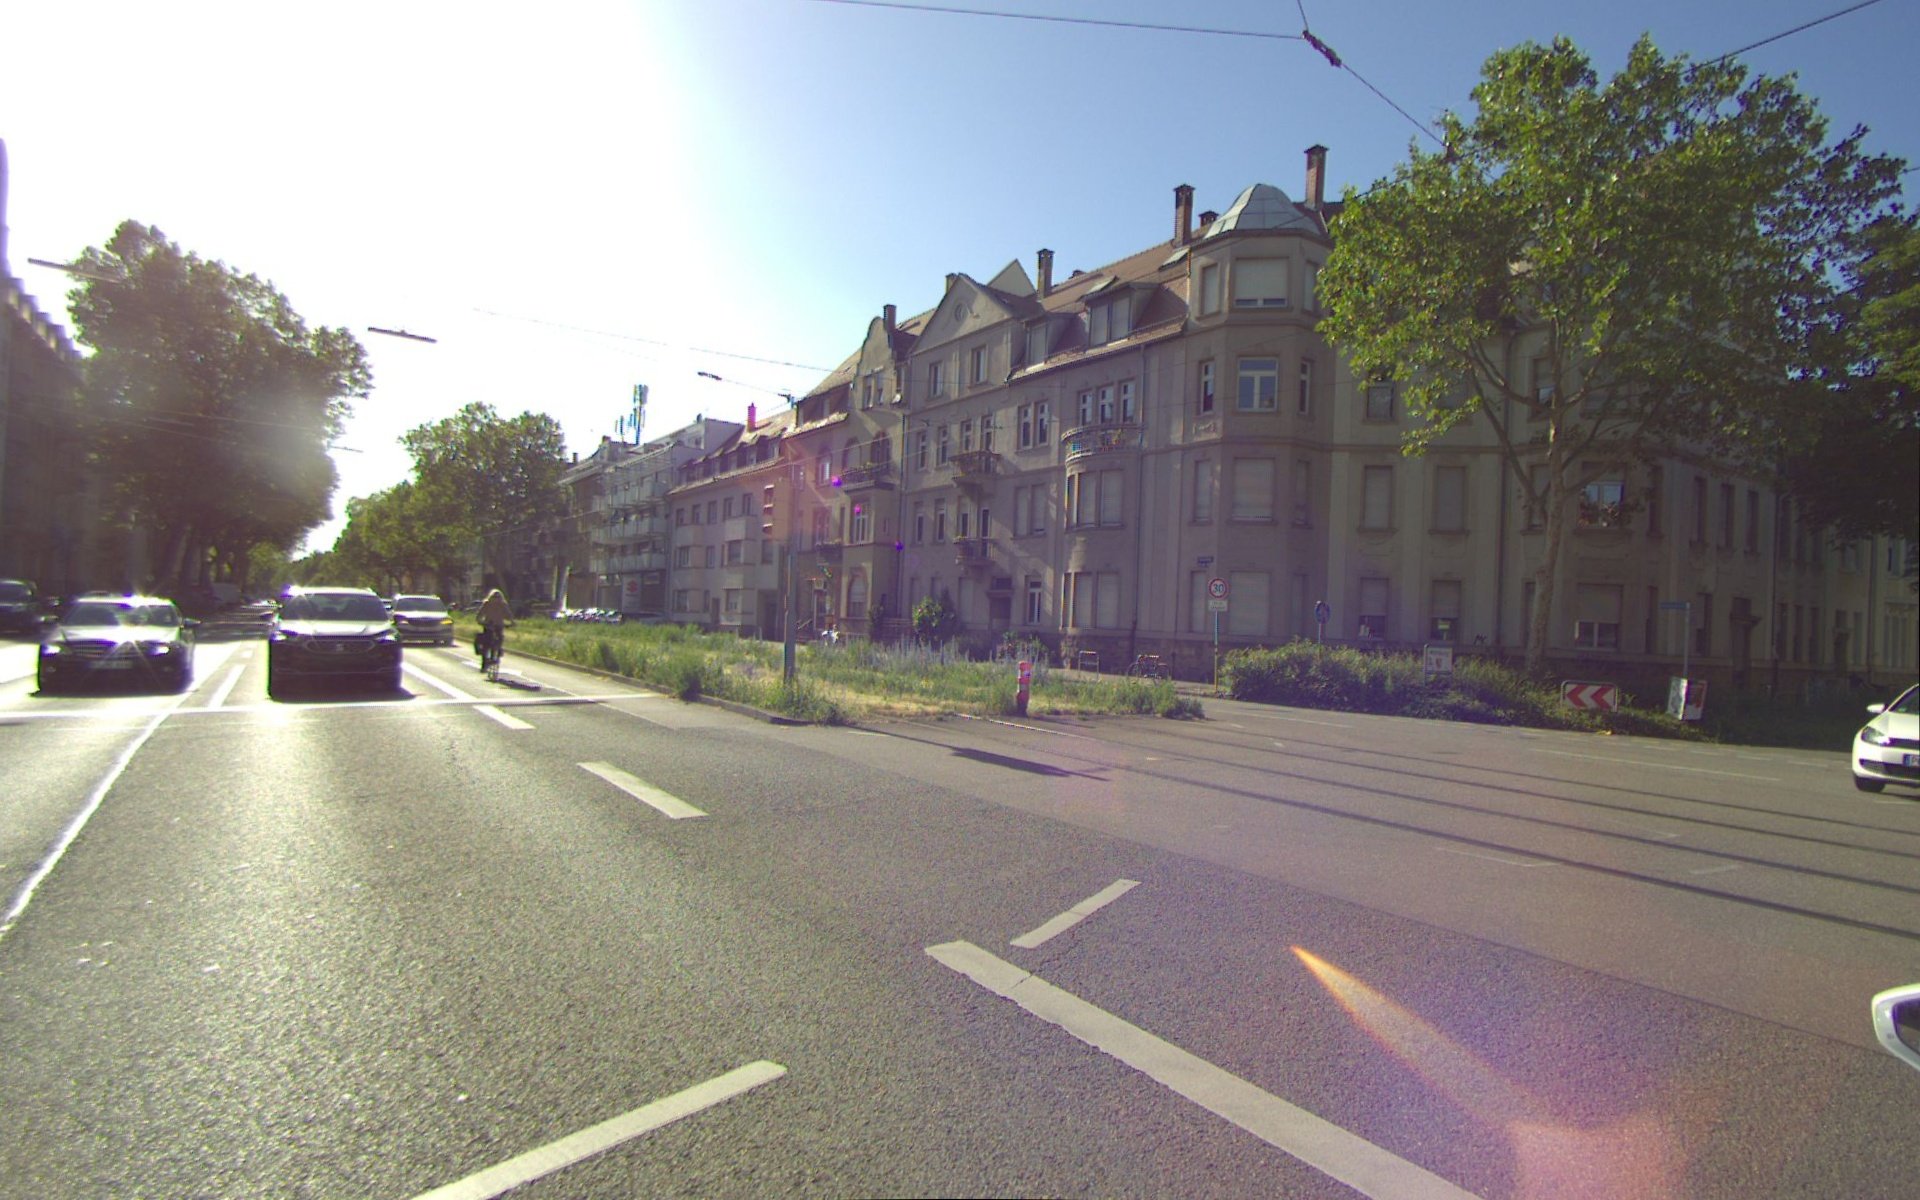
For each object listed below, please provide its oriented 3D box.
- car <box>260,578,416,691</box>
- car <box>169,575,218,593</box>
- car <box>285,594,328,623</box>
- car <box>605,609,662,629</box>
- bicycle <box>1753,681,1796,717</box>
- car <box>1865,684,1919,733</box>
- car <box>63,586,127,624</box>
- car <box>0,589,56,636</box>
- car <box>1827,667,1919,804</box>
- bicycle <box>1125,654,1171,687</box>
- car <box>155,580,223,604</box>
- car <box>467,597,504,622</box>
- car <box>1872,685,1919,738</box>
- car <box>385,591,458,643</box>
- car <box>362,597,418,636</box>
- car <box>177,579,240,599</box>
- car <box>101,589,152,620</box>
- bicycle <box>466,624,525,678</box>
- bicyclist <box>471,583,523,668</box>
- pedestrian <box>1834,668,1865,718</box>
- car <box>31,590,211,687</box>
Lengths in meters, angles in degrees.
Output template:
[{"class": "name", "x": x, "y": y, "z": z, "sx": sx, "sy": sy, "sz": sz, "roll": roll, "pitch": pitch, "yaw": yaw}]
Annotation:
[{"class": "car", "x": -10.547, "y": 0.530, "z": 17.061, "sx": 1.979, "sy": 1.666, "sz": 4.203, "roll": 2, "pitch": -1, "yaw": -33}, {"class": "car", "x": -81.074, "y": -1.678, "z": 106.258, "sx": 1.819, "sy": 1.728, "sz": 3.790, "roll": 4, "pitch": 1, "yaw": 41}, {"class": "car", "x": -39.099, "y": 0.517, "z": 60.191, "sx": 1.702, "sy": 1.572, "sz": 3.972, "roll": 3, "pitch": -2, "yaw": -27}, {"class": "car", "x": -25.574, "y": 1.474, "z": 78.808, "sx": 3.961, "sy": 1.325, "sz": 1.528, "roll": 4, "pitch": -2, "yaw": -35}, {"class": "bicycle", "x": 28.017, "y": 3.401, "z": 34.549, "sx": 1.961, "sy": 1.169, "sz": 0.511, "roll": 3, "pitch": 1, "yaw": -33}, {"class": "car", "x": 31.048, "y": 3.487, "z": 31.411, "sx": 1.601, "sy": 1.433, "sz": 3.852, "roll": 4, "pitch": -2, "yaw": -38}, {"class": "car", "x": -39.060, "y": 0.219, "z": 45.433, "sx": 1.624, "sy": 1.609, "sz": 3.373, "roll": 2, "pitch": -1, "yaw": -32}, {"class": "car", "x": -30.599, "y": 0.356, "z": 32.185, "sx": 1.747, "sy": 1.407, "sz": 3.862, "roll": 3, "pitch": -2, "yaw": -32}, {"class": "car", "x": 12.423, "y": 1.688, "z": 12.240, "sx": 3.959, "sy": 1.477, "sz": 1.795, "roll": 5, "pitch": -3, "yaw": -33}, {"class": "bicycle", "x": 5.750, "y": 2.152, "z": 30.745, "sx": 0.492, "sy": 0.916, "sz": 1.424, "roll": 4, "pitch": -2, "yaw": -36}, {"class": "car", "x": -59.736, "y": -0.587, "z": 77.857, "sx": 1.809, "sy": 1.728, "sz": 3.810, "roll": 4, "pitch": 1, "yaw": 16}, {"class": "car", "x": -38.119, "y": 0.780, "z": 80.611, "sx": 1.966, "sy": 1.860, "sz": 4.075, "roll": 4, "pitch": -2, "yaw": -34}, {"class": "car", "x": 29.602, "y": 3.387, "z": 29.526, "sx": 1.598, "sy": 1.495, "sz": 3.861, "roll": 4, "pitch": -3, "yaw": -32}, {"class": "car", "x": -17.820, "y": 0.546, "z": 33.157, "sx": 1.747, "sy": 1.550, "sz": 3.984, "roll": 3, "pitch": -2, "yaw": -32}, {"class": "car", "x": -24.147, "y": 0.665, "z": 42.517, "sx": 1.748, "sy": 1.550, "sz": 3.859, "roll": 1, "pitch": 0, "yaw": -34}, {"class": "car", "x": -71.765, "y": -1.026, "z": 96.001, "sx": 1.809, "sy": 1.728, "sz": 4.593, "roll": 4, "pitch": 1, "yaw": 18}, {"class": "car", "x": -45.413, "y": 0.248, "z": 54.799, "sx": 1.624, "sy": 1.609, "sz": 3.373, "roll": 2, "pitch": -1, "yaw": -32}, {"class": "bicycle", "x": -8.946, "y": 0.970, "z": 19.306, "sx": 0.786, "sy": 0.937, "sz": 1.622, "roll": 3, "pitch": -1, "yaw": -33}, {"class": "bicyclist", "x": -8.919, "y": 0.491, "z": 19.338, "sx": 0.680, "sy": 1.562, "sz": 1.065, "roll": 4, "pitch": -2, "yaw": -33}, {"class": "pedestrian", "x": 31.125, "y": 3.262, "z": 35.130, "sx": 0.882, "sy": 1.680, "sz": 0.458, "roll": 4, "pitch": -2, "yaw": -24}, {"class": "car", "x": -13.765, "y": 0.589, "z": 16.706, "sx": 1.747, "sy": 1.407, "sz": 3.862, "roll": 3, "pitch": -1, "yaw": -33}]
